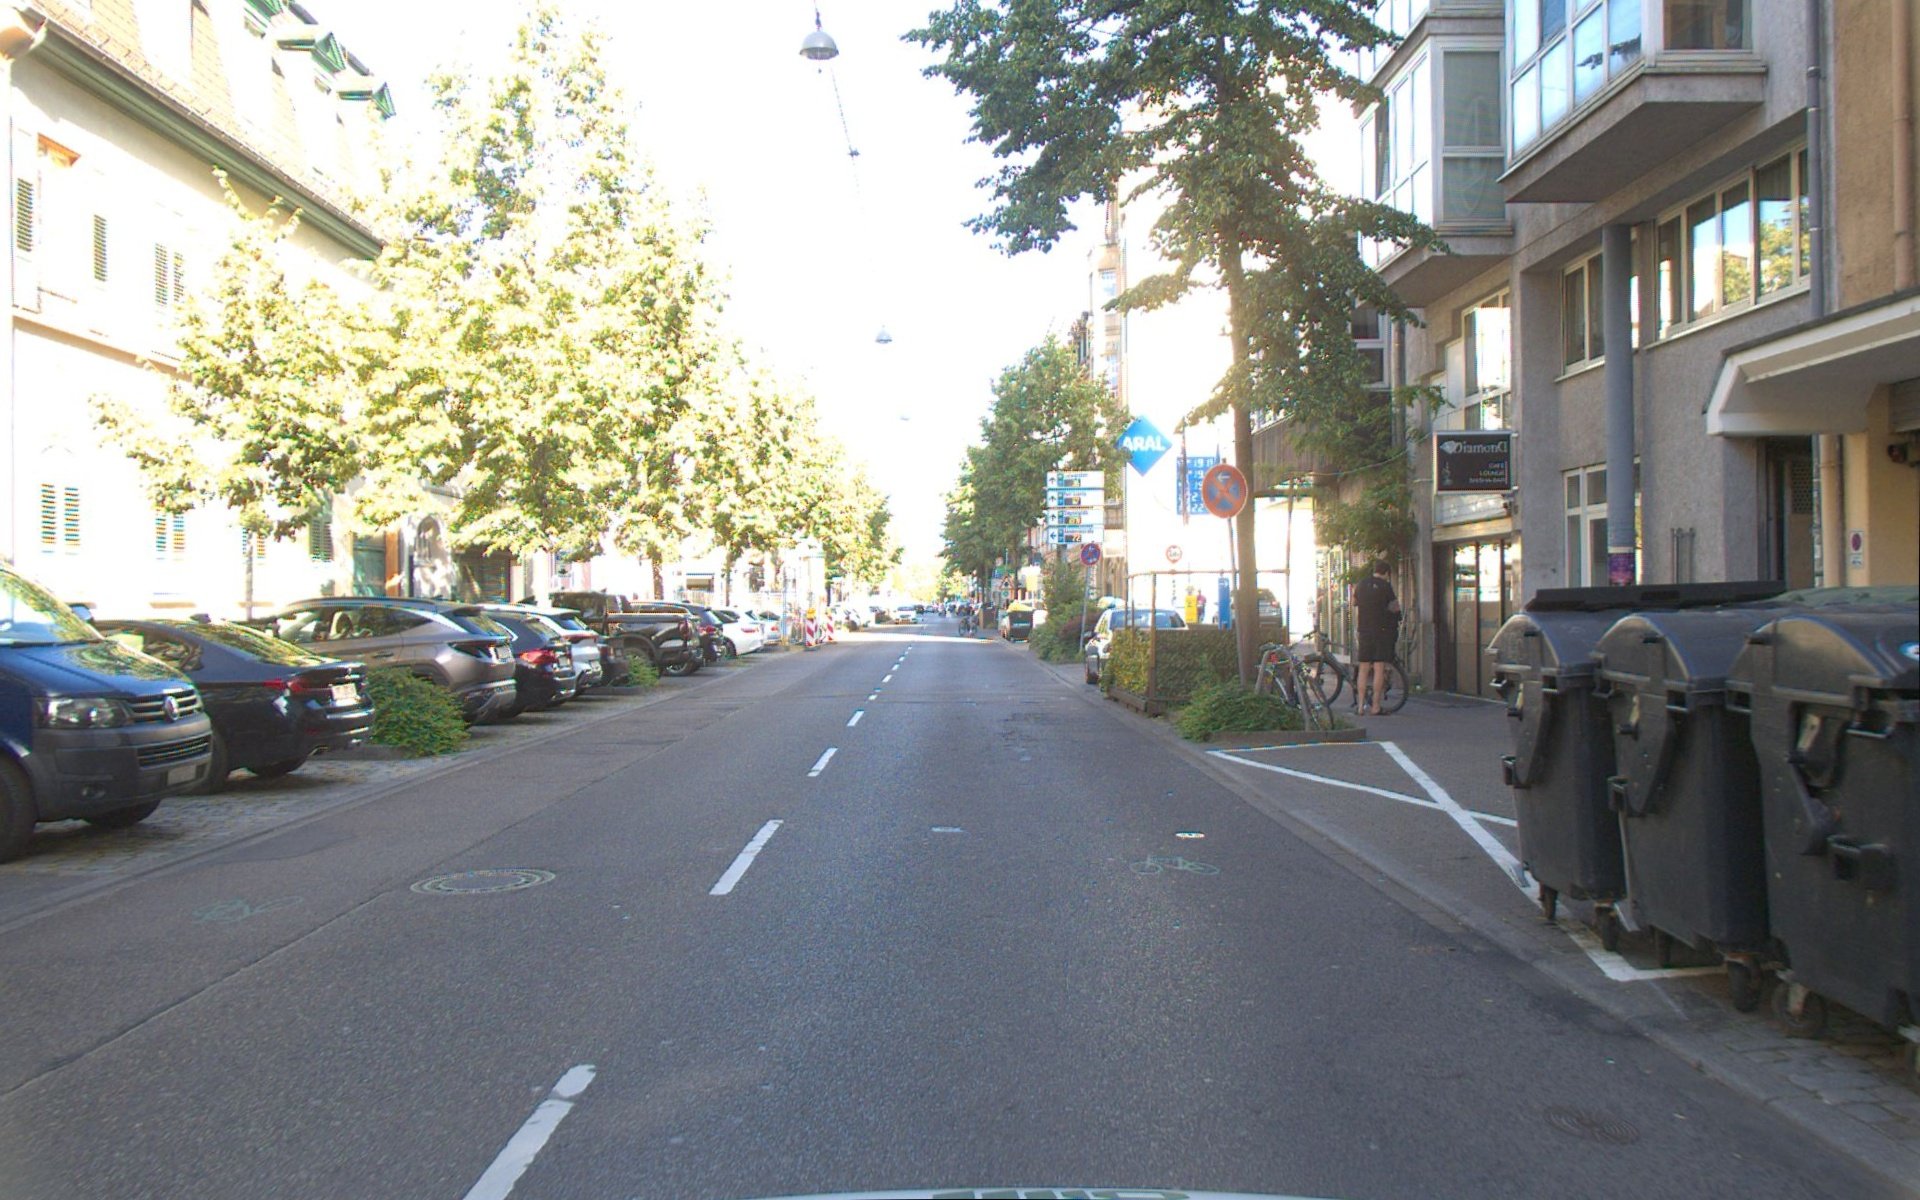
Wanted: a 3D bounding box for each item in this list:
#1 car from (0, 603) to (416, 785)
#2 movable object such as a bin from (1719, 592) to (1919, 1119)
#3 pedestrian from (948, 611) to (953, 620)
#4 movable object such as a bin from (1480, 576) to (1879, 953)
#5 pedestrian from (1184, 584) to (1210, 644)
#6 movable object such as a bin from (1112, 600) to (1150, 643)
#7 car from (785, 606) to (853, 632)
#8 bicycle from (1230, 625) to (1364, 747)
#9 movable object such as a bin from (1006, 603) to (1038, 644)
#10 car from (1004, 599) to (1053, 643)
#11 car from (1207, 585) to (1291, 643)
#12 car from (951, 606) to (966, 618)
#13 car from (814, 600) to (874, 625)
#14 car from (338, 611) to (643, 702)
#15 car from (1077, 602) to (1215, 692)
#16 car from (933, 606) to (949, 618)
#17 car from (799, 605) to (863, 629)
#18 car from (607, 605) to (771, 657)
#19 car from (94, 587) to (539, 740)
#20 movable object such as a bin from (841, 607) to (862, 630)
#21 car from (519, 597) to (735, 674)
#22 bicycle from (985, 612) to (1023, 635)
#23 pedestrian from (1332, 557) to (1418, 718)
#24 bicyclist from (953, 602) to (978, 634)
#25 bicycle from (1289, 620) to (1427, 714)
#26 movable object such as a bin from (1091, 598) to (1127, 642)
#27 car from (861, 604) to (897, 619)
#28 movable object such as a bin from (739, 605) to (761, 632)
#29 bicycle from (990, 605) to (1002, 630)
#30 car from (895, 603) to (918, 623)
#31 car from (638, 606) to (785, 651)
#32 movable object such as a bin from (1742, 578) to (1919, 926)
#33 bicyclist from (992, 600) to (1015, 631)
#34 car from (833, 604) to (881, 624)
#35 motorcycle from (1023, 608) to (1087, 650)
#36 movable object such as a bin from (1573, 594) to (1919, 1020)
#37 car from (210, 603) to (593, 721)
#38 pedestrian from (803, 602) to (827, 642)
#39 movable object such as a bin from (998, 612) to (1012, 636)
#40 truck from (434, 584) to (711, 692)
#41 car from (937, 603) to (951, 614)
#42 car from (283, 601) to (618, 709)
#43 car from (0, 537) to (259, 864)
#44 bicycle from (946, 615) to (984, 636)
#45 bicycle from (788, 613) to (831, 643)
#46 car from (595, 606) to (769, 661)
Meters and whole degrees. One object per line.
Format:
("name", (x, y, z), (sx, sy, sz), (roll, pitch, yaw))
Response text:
("car", (-7.292, 0.772, 14.377), (4.551, 1.485, 1.683), (0, -1, -1))
("movable object such as a bin", (3.365, 0.710, 5.243), (1.370, 1.479, 1.146), (-1, 0, -1))
("pedestrian", (-1.185, 1.902, 198.816), (0.534, 1.044, 0.546), (-1, 0, -3))
("movable object such as a bin", (3.224, 0.696, 7.568), (1.303, 1.569, 1.146), (-1, 0, -1))
("pedestrian", (7.558, 0.459, 52.751), (0.692, 1.882, 0.688), (-1, 0, 0))
("movable object such as a bin", (6.396, 0.787, 61.881), (1.245, 1.557, 1.176), (-1, 0, -2))
("car", (-8.307, 1.114, 97.836), (3.906, 1.414, 1.999), (-1, 0, -2))
("bicycle", (3.582, 0.884, 17.778), (0.597, 1.139, 2.051), (-7, 1, -10))
("movable object such as a bin", (2.458, 0.913, 65.756), (1.118, 1.589, 1.460), (-1, 0, 7))
("car", (2.878, 0.880, 70.079), (1.785, 1.708, 4.600), (-3, 0, 0))
("car", (8.863, 0.433, 51.058), (1.862, 1.677, 4.293), (-1, 0, 1))
("car", (-0.221, 1.598, 222.518), (1.953, 1.534, 3.999), (0, -1, -1))
("car", (-8.160, 0.878, 116.539), (3.903, 1.724, 2.001), (-1, 0, 4))
("car", (-7.820, 0.923, 27.821), (4.584, 1.488, 1.808), (0, -1, 1))
("car", (3.276, 0.790, 29.970), (1.862, 1.436, 4.646), (-2, 0, -1))
("car", (-2.356, 1.438, 201.975), (1.785, 1.415, 4.299), (-3, 0, -2))
("car", (-8.050, 1.070, 103.627), (3.906, 1.414, 1.999), (-1, 0, -2))
("car", (-7.939, 0.896, 48.783), (4.588, 1.491, 1.807), (0, -1, -4))
("car", (-7.569, 0.731, 19.768), (4.584, 1.742, 1.808), (0, -1, 1))
("movable object such as a bin", (-7.213, 1.202, 110.315), (1.307, 1.504, 1.480), (-1, 0, -1))
("car", (-7.605, 0.809, 38.049), (4.584, 1.723, 1.808), (0, -1, 1))
("bicycle", (2.434, 1.286, 92.390), (1.998, 1.241, 0.717), (-1, 0, -19))
("pedestrian", (5.236, 0.466, 20.845), (0.906, 1.969, 0.760), (-1, 0, 24))
("bicyclist", (0.271, 0.927, 84.580), (1.030, 1.587, 0.759), (0, 0, -37))
("bicycle", (5.179, 0.855, 21.594), (0.676, 1.169, 1.659), (0, 0, -42))
("movable object such as a bin", (5.688, 0.752, 63.238), (1.181, 1.656, 1.497), (-1, 0, -2))
("car", (-8.976, 1.259, 184.259), (3.906, 1.526, 1.999), (-1, 0, -2))
("movable object such as a bin", (-12.265, 1.072, 96.802), (1.148, 1.511, 1.314), (-1, 0, -3))
("bicycle", (2.197, 1.065, 101.914), (0.549, 1.465, 1.628), (-6, 0, -1))
("car", (-4.317, 1.052, 134.374), (1.766, 1.460, 4.408), (-3, 0, -2))
("car", (-8.082, 0.915, 54.061), (4.588, 1.437, 1.807), (0, -1, -4))
("movable object such as a bin", (4.435, 0.631, 7.590), (1.055, 1.456, 1.295), (-1, 0, -1))
("bicyclist", (2.434, 0.870, 92.396), (1.136, 1.722, 0.717), (-1, 0, -19))
("car", (-8.639, 1.173, 139.297), (3.906, 1.526, 1.999), (-1, 0, -2))
("motorcycle", (3.179, 0.951, 55.431), (1.943, 1.353, 0.909), (-1, 0, -13))
("movable object such as a bin", (3.284, 0.727, 6.404), (1.370, 1.479, 1.146), (-1, 0, -1))
("car", (-7.493, 0.815, 22.504), (4.584, 1.546, 1.808), (0, -1, 1))
("pedestrian", (-6.341, 0.964, 72.392), (0.785, 1.737, 0.758), (1, 0, -34))
("movable object such as a bin", (2.242, 1.186, 82.867), (0.609, 1.200, 0.711), (-1, 0, -3))
("truck", (-7.589, 0.727, 32.772), (4.982, 1.972, 1.999), (-1, 0, -2))
("car", (-2.114, 1.128, 220.690), (1.756, 1.436, 3.999), (-1, 0, -1))
("car", (-7.770, 0.824, 25.504), (4.584, 1.599, 1.808), (0, -1, 1))
("car", (-7.382, 0.616, 11.022), (4.584, 1.984, 1.916), (0, -1, 1))
("bicycle", (0.257, 1.299, 84.583), (1.935, 1.077, 0.759), (-1, 0, -38))
("bicycle", (-6.544, 1.205, 71.711), (1.820, 1.274, 0.599), (0, 0, -9))
("car", (-7.691, 0.928, 46.099), (4.588, 1.491, 1.807), (0, -1, -4))
